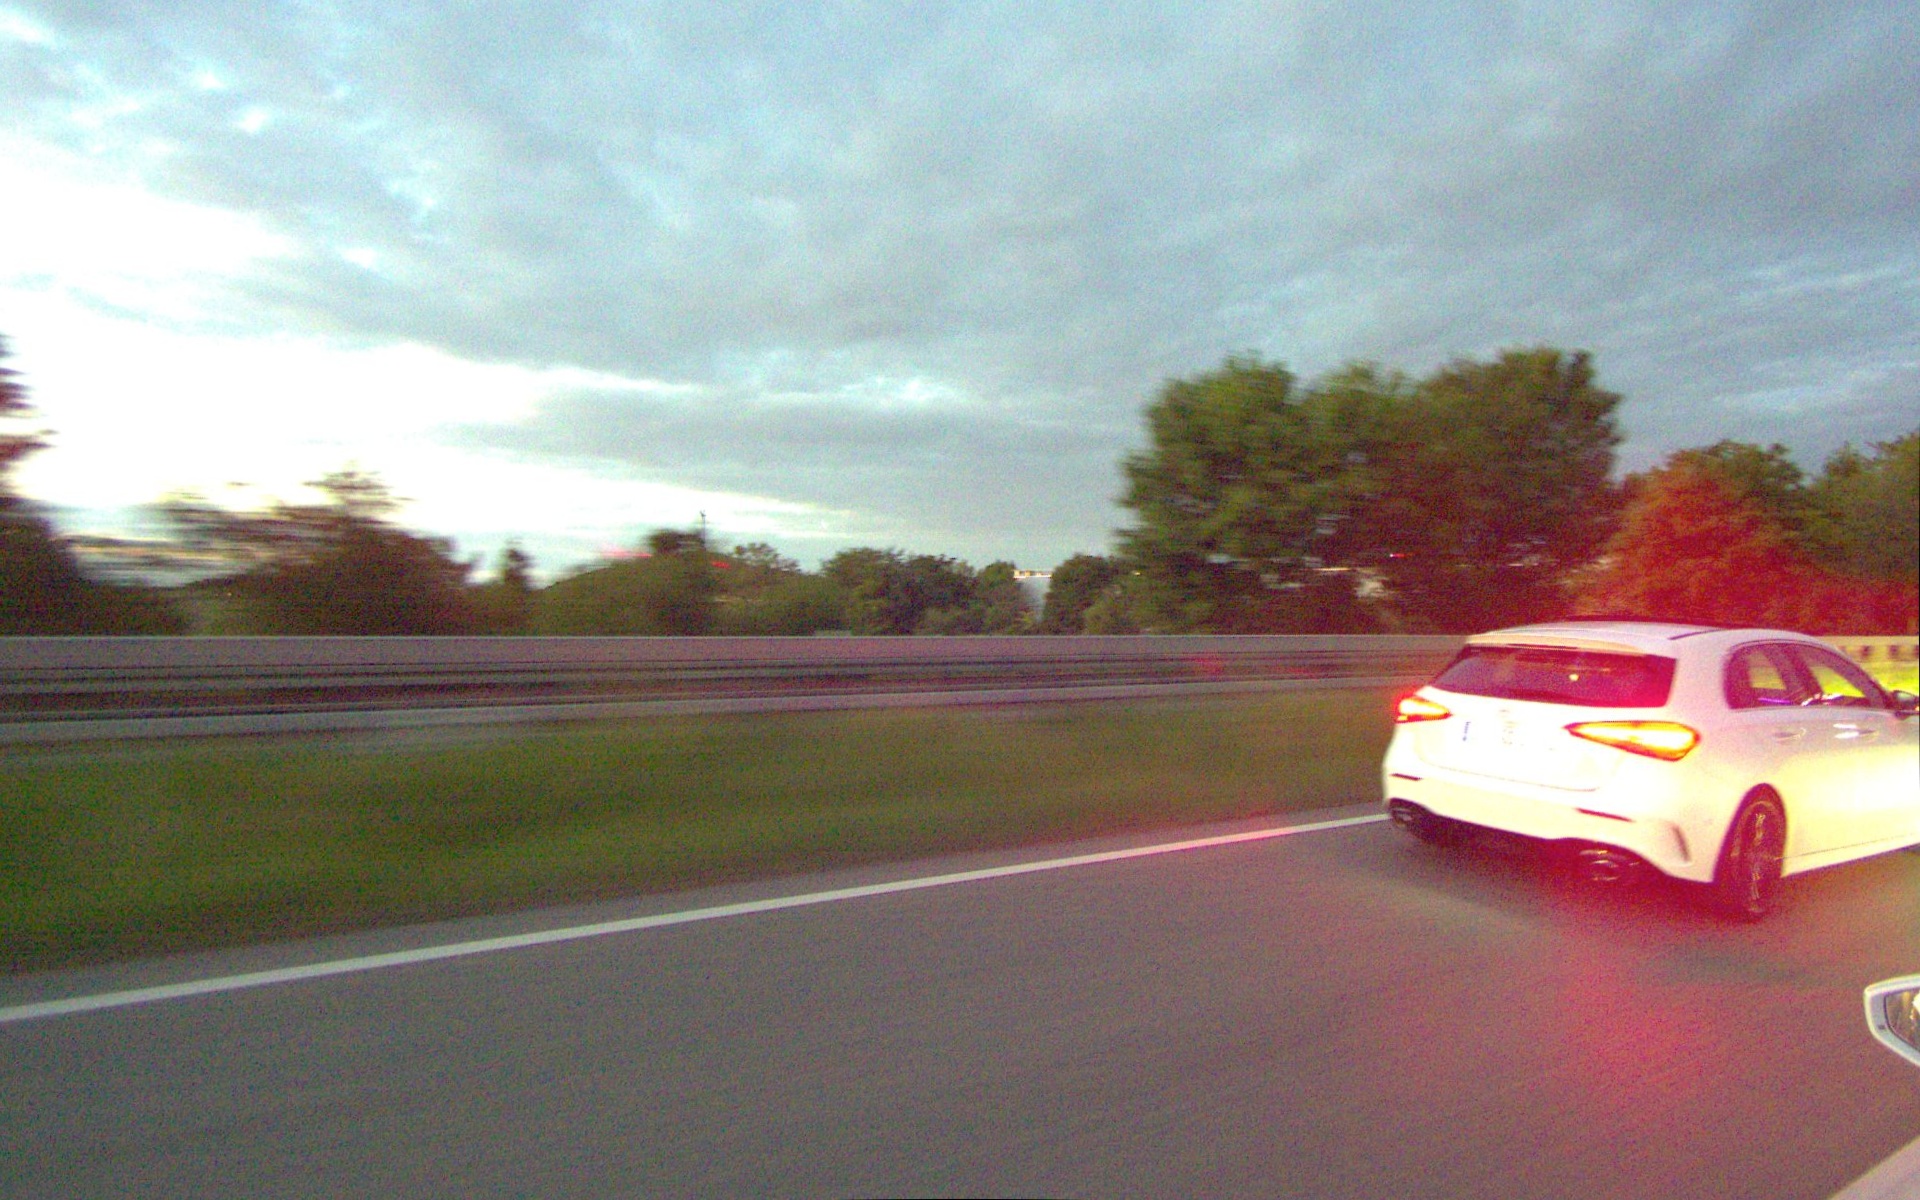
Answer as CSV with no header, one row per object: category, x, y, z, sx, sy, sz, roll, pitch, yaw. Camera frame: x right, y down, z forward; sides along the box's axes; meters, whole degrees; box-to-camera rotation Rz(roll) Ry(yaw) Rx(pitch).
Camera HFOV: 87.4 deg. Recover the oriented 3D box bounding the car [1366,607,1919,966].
car,4.670,0.857,6.171,4.527,1.510,1.633,2,0,-31
